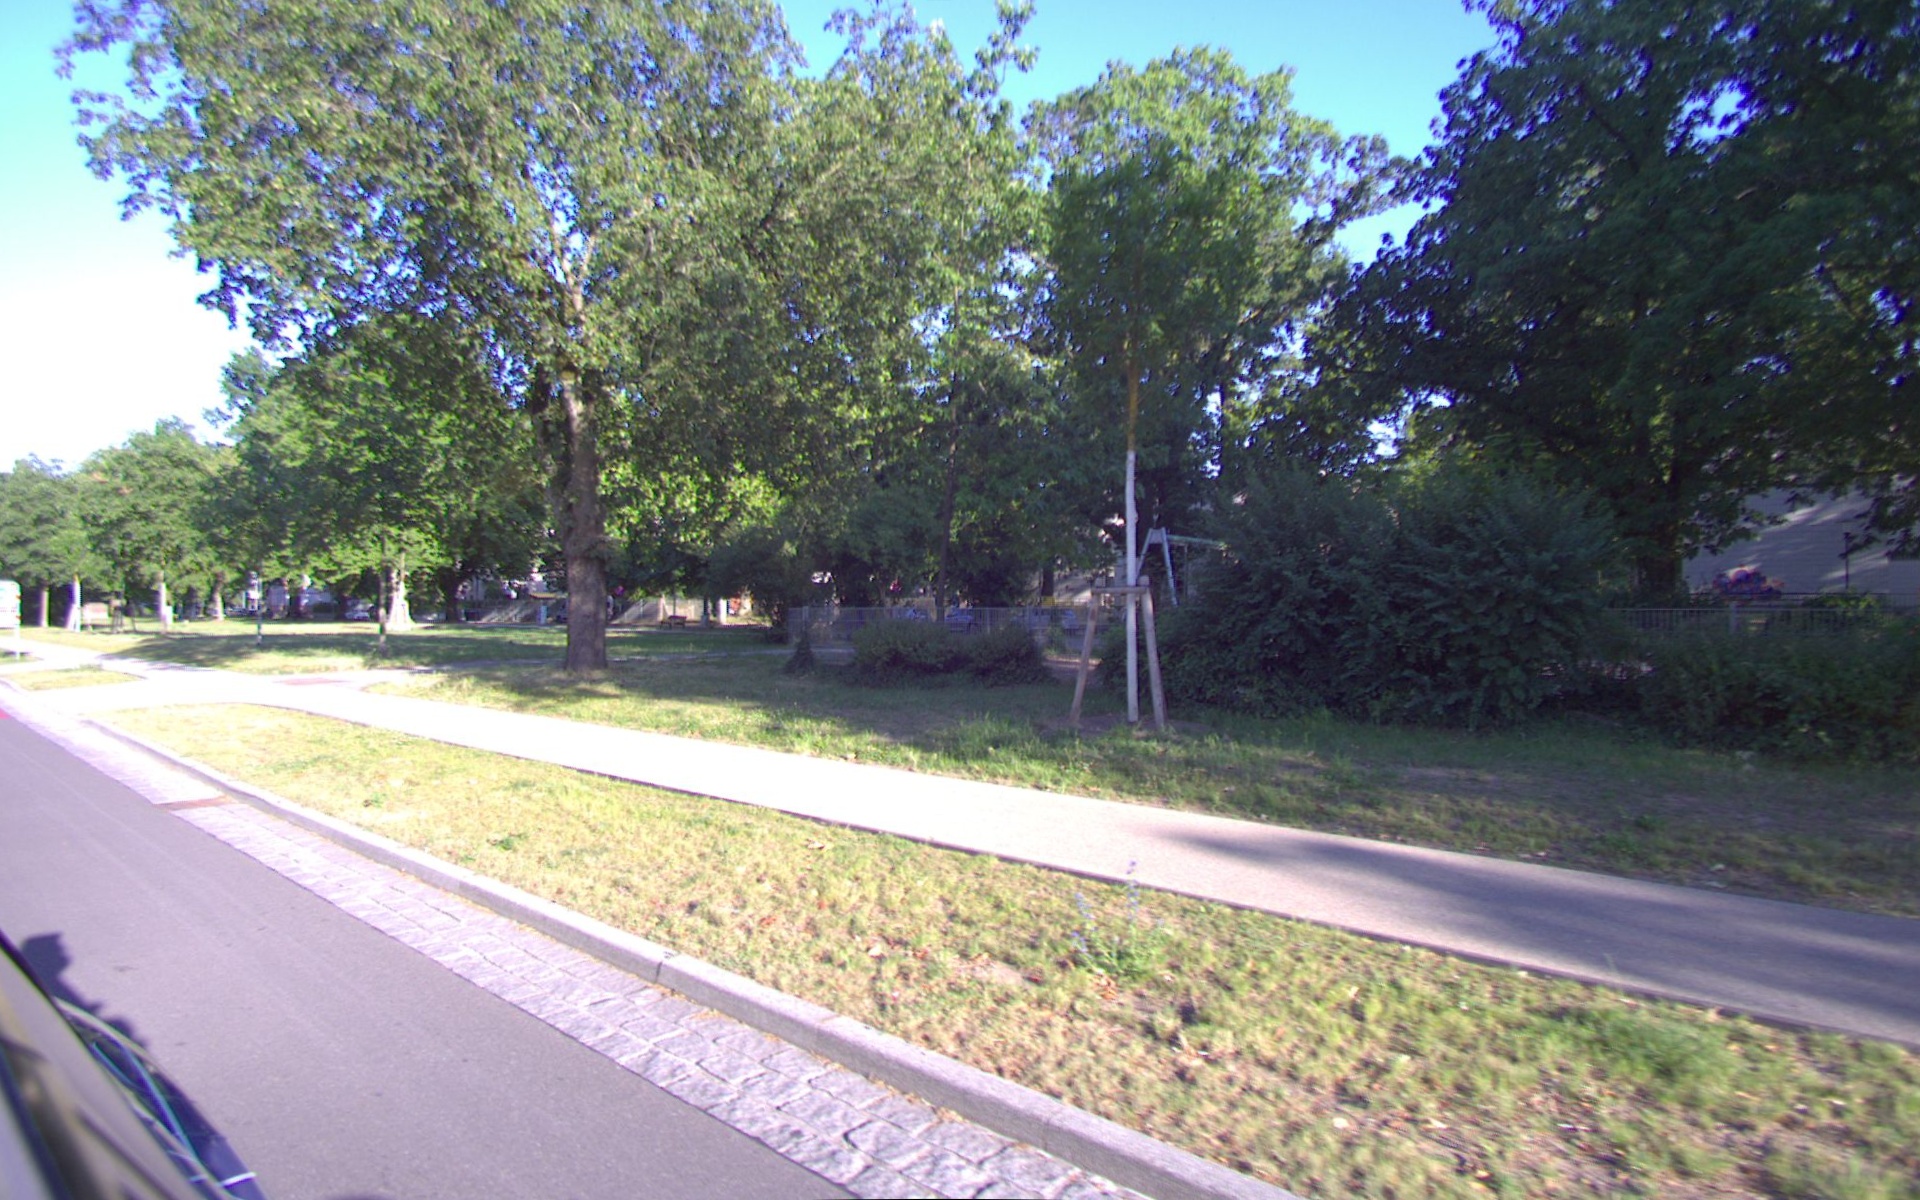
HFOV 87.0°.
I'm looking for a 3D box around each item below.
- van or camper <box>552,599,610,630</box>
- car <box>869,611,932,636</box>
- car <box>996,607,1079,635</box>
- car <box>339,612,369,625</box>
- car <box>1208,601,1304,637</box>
[{"bbox_3d":[-31.067,1.210,82.806,5.462,2.458,1.974,-1,0,40],"label":"van or camper"},{"bbox_3d":[-3.439,1.365,58.304,3.647,1.378,1.506,-1,-1,41],"label":"car"},{"bbox_3d":[3.912,1.070,51.490,4.106,1.378,1.506,-1,-1,41],"label":"car"},{"bbox_3d":[-70.798,2.193,118.240,3.997,1.475,1.774,-1,0,41],"label":"car"},{"bbox_3d":[12.778,0.822,43.843,3.663,1.475,1.583,-1,0,43],"label":"car"}]
